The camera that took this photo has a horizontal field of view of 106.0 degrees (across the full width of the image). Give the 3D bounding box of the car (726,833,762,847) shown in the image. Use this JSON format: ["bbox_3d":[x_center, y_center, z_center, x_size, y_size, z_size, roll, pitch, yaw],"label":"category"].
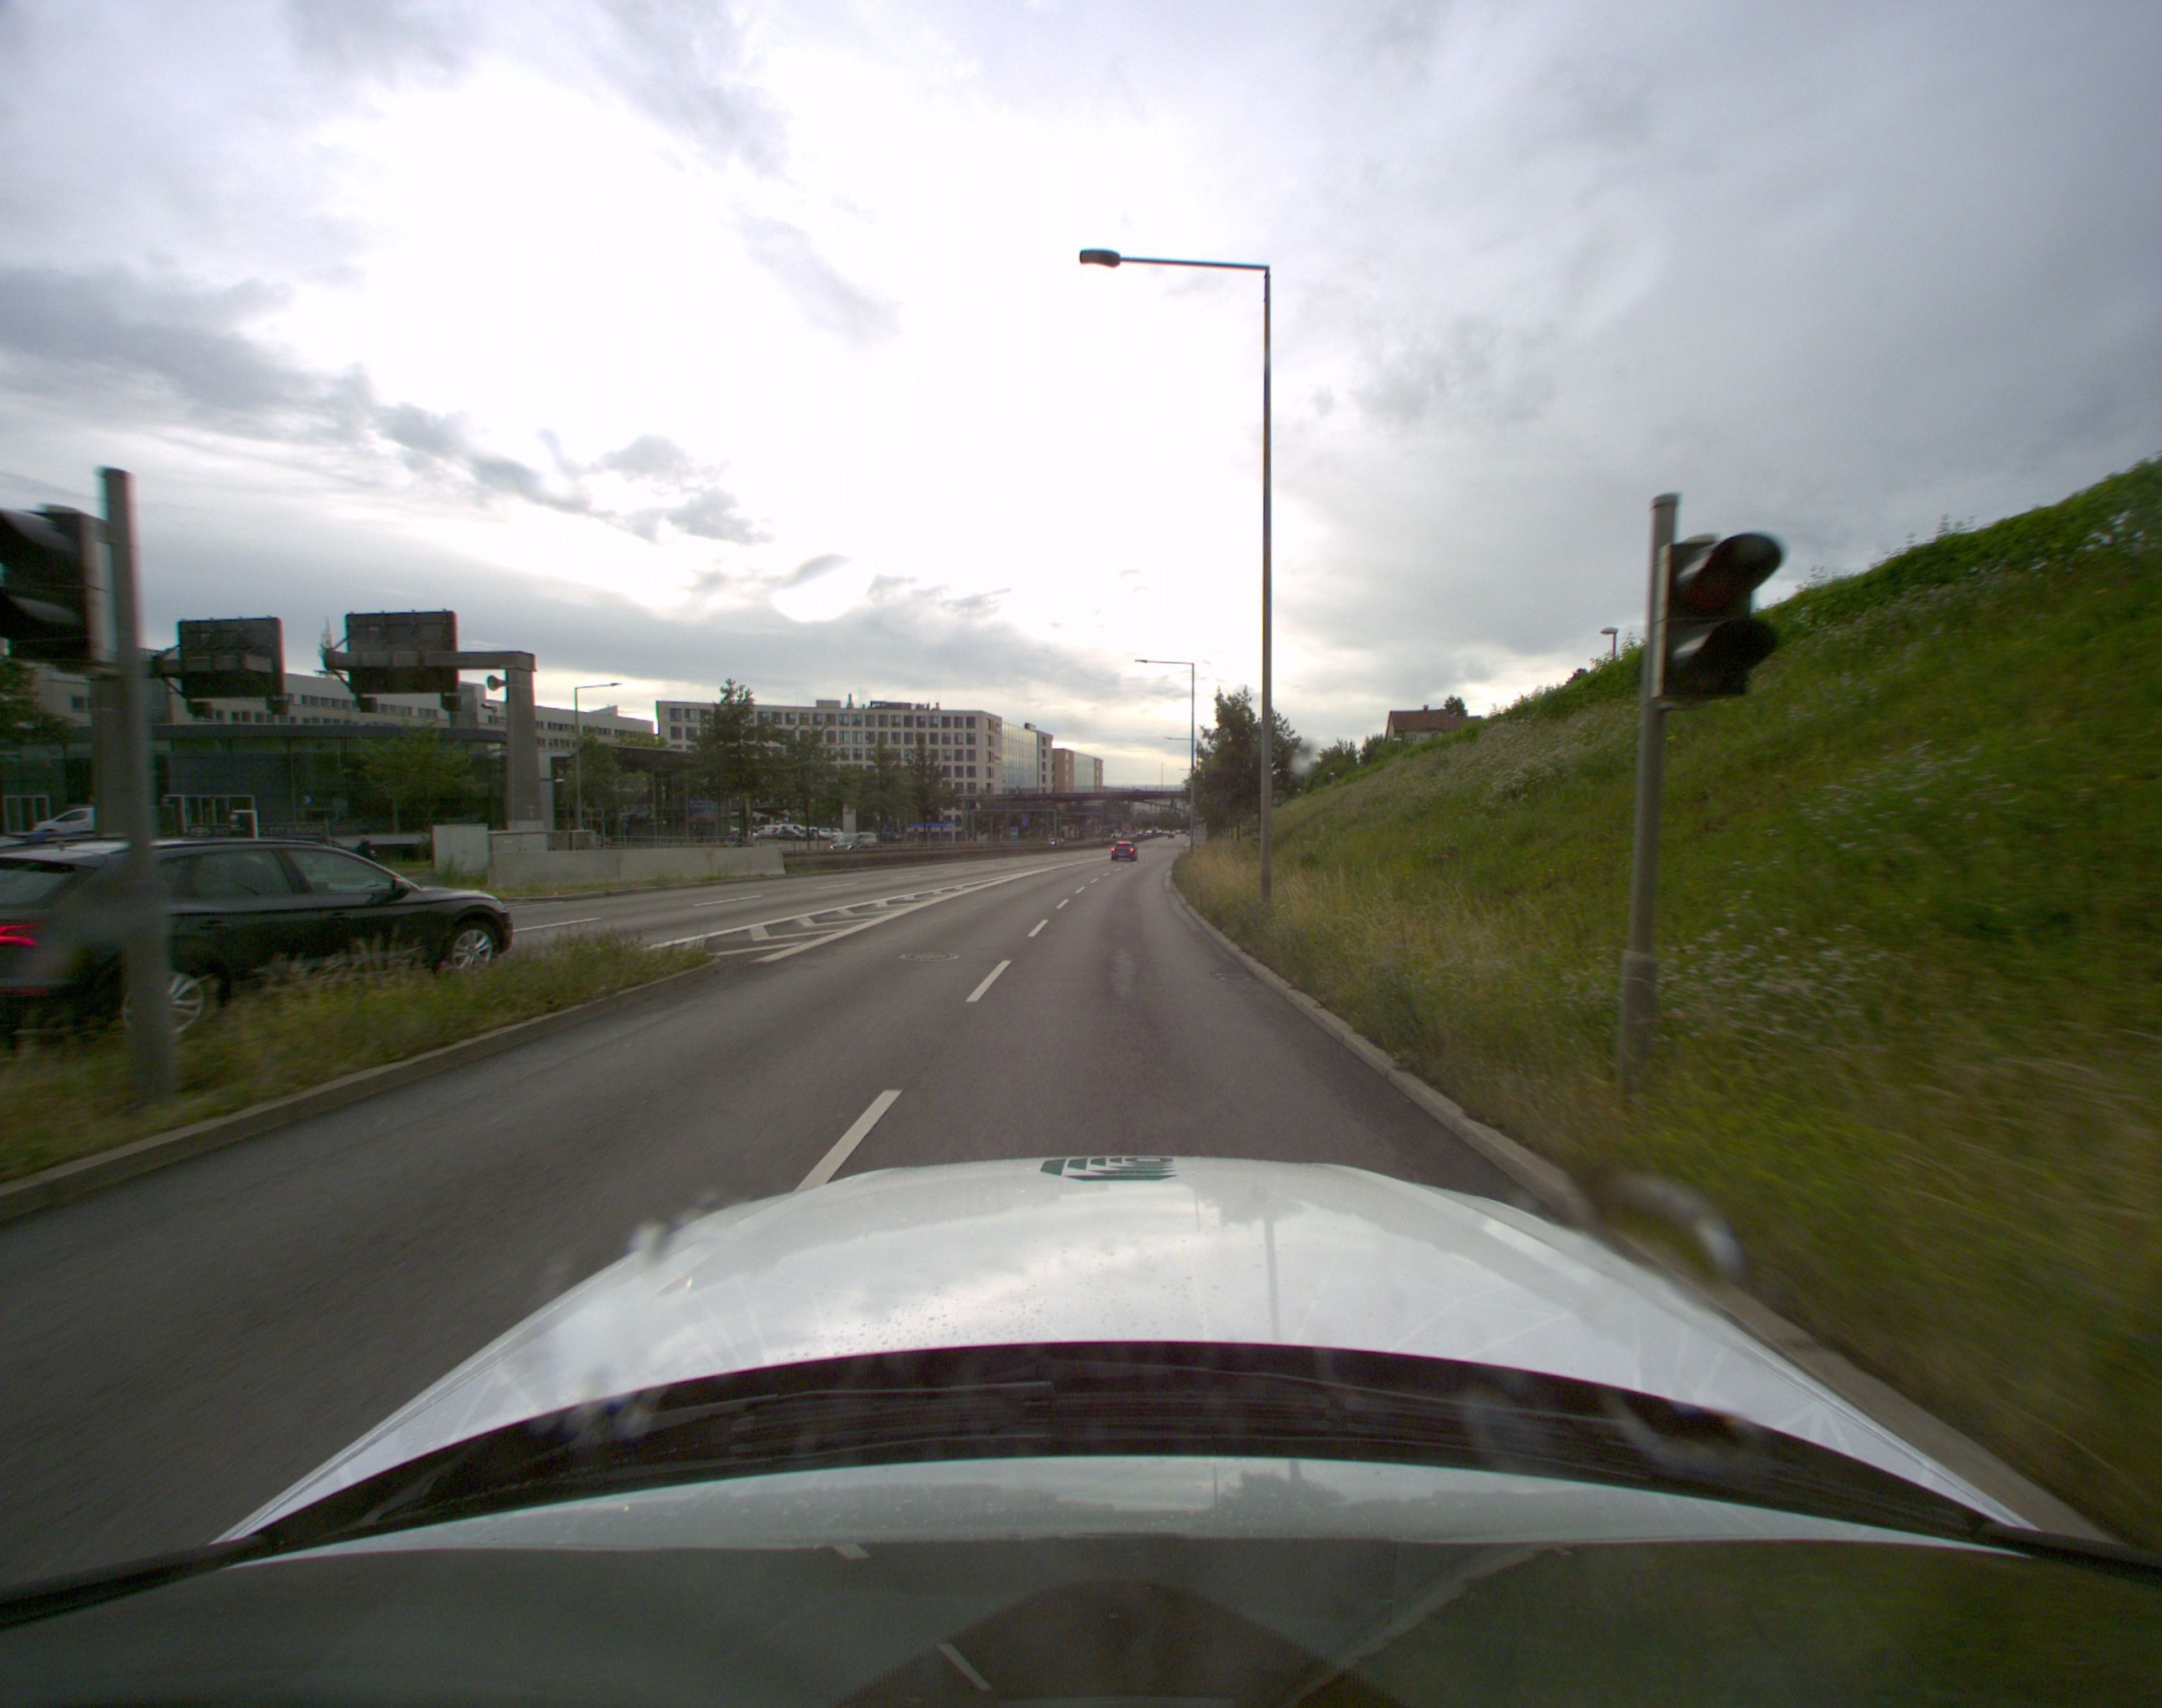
[{"bbox_3d":[-44.209,-1.865,106.795,3.959,1.650,2.008,3,4,13],"label":"car"}]

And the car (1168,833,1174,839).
[{"bbox_3d":[27.074,-5.404,245.110,1.854,1.749,4.008,2,4,5],"label":"car"}]

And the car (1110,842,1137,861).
[{"bbox_3d":[3.280,-0.227,62.594,1.738,1.420,3.487,0,1,9],"label":"car"}]

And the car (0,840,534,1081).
[{"bbox_3d":[-7.963,0.684,7.890,1.742,1.617,4.757,1,1,6],"label":"car"}]

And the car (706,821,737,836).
[{"bbox_3d":[-52.713,-3.694,119.450,4.011,2.047,1.982,0,4,-30],"label":"car"}]

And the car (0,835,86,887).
[{"bbox_3d":[-41.181,0.233,31.300,3.963,1.683,1.929,2,4,9],"label":"car"}]

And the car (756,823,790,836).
[{"bbox_3d":[-43.498,-3.481,114.871,3.966,1.650,2.005,2,4,6],"label":"car"}]

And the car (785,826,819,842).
[{"bbox_3d":[-38.718,-2.771,112.919,3.959,2.013,2.008,1,1,13],"label":"car"}]

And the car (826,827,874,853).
[{"bbox_3d":[-17.490,-1.097,61.872,1.983,1.749,4.010,2,4,8],"label":"car"}]

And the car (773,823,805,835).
[{"bbox_3d":[-43.427,-3.738,121.093,3.968,1.650,1.824,2,4,5],"label":"car"}]

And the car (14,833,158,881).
[{"bbox_3d":[-40.912,0.082,33.534,3.963,1.683,1.929,2,4,9],"label":"car"}]

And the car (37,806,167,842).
[{"bbox_3d":[-52.895,-1.609,44.124,4.002,1.781,1.911,0,4,-22],"label":"car"}]

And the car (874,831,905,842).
[{"bbox_3d":[-27.906,-2.545,118.750,3.962,1.354,1.855,3,2,10],"label":"car"}]

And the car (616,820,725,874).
[{"bbox_3d":[-14.156,-0.304,28.299,1.679,1.589,3.557,2,4,7],"label":"car"}]

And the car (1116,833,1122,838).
[{"bbox_3d":[10.981,-5.286,235.846,1.509,1.420,3.487,1,2,8],"label":"car"}]

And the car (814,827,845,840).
[{"bbox_3d":[-37.234,-3.068,120.569,3.959,1.650,2.008,3,4,13],"label":"car"}]

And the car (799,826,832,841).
[{"bbox_3d":[-37.486,-2.889,115.153,3.959,1.875,2.008,3,4,13],"label":"car"}]

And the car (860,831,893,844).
[{"bbox_3d":[-28.595,-2.369,113.956,3.962,1.650,2.006,3,2,10],"label":"car"}]

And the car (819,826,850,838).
[{"bbox_3d":[-37.215,-3.300,123.142,3.959,1.650,2.008,3,4,13],"label":"car"}]

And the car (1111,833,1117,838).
[{"bbox_3d":[10.021,-5.643,248.449,1.509,1.420,3.487,1,2,8],"label":"car"}]

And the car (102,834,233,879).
[{"bbox_3d":[-40.331,0.073,36.005,3.963,1.683,1.929,2,4,9],"label":"car"}]

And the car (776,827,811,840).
[{"bbox_3d":[-38.951,-2.779,110.236,3.966,1.650,2.005,2,4,6],"label":"car"}]

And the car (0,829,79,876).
[{"bbox_3d":[-45.273,-0.108,34.400,3.963,1.683,1.929,2,4,9],"label":"car"}]

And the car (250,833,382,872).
[{"bbox_3d":[-38.999,-0.144,41.653,1.900,1.683,4.530,4,4,27],"label":"car"}]

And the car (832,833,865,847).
[{"bbox_3d":[-30.344,-1.885,106.396,4.002,1.650,1.986,1,2,-22],"label":"car"}]
